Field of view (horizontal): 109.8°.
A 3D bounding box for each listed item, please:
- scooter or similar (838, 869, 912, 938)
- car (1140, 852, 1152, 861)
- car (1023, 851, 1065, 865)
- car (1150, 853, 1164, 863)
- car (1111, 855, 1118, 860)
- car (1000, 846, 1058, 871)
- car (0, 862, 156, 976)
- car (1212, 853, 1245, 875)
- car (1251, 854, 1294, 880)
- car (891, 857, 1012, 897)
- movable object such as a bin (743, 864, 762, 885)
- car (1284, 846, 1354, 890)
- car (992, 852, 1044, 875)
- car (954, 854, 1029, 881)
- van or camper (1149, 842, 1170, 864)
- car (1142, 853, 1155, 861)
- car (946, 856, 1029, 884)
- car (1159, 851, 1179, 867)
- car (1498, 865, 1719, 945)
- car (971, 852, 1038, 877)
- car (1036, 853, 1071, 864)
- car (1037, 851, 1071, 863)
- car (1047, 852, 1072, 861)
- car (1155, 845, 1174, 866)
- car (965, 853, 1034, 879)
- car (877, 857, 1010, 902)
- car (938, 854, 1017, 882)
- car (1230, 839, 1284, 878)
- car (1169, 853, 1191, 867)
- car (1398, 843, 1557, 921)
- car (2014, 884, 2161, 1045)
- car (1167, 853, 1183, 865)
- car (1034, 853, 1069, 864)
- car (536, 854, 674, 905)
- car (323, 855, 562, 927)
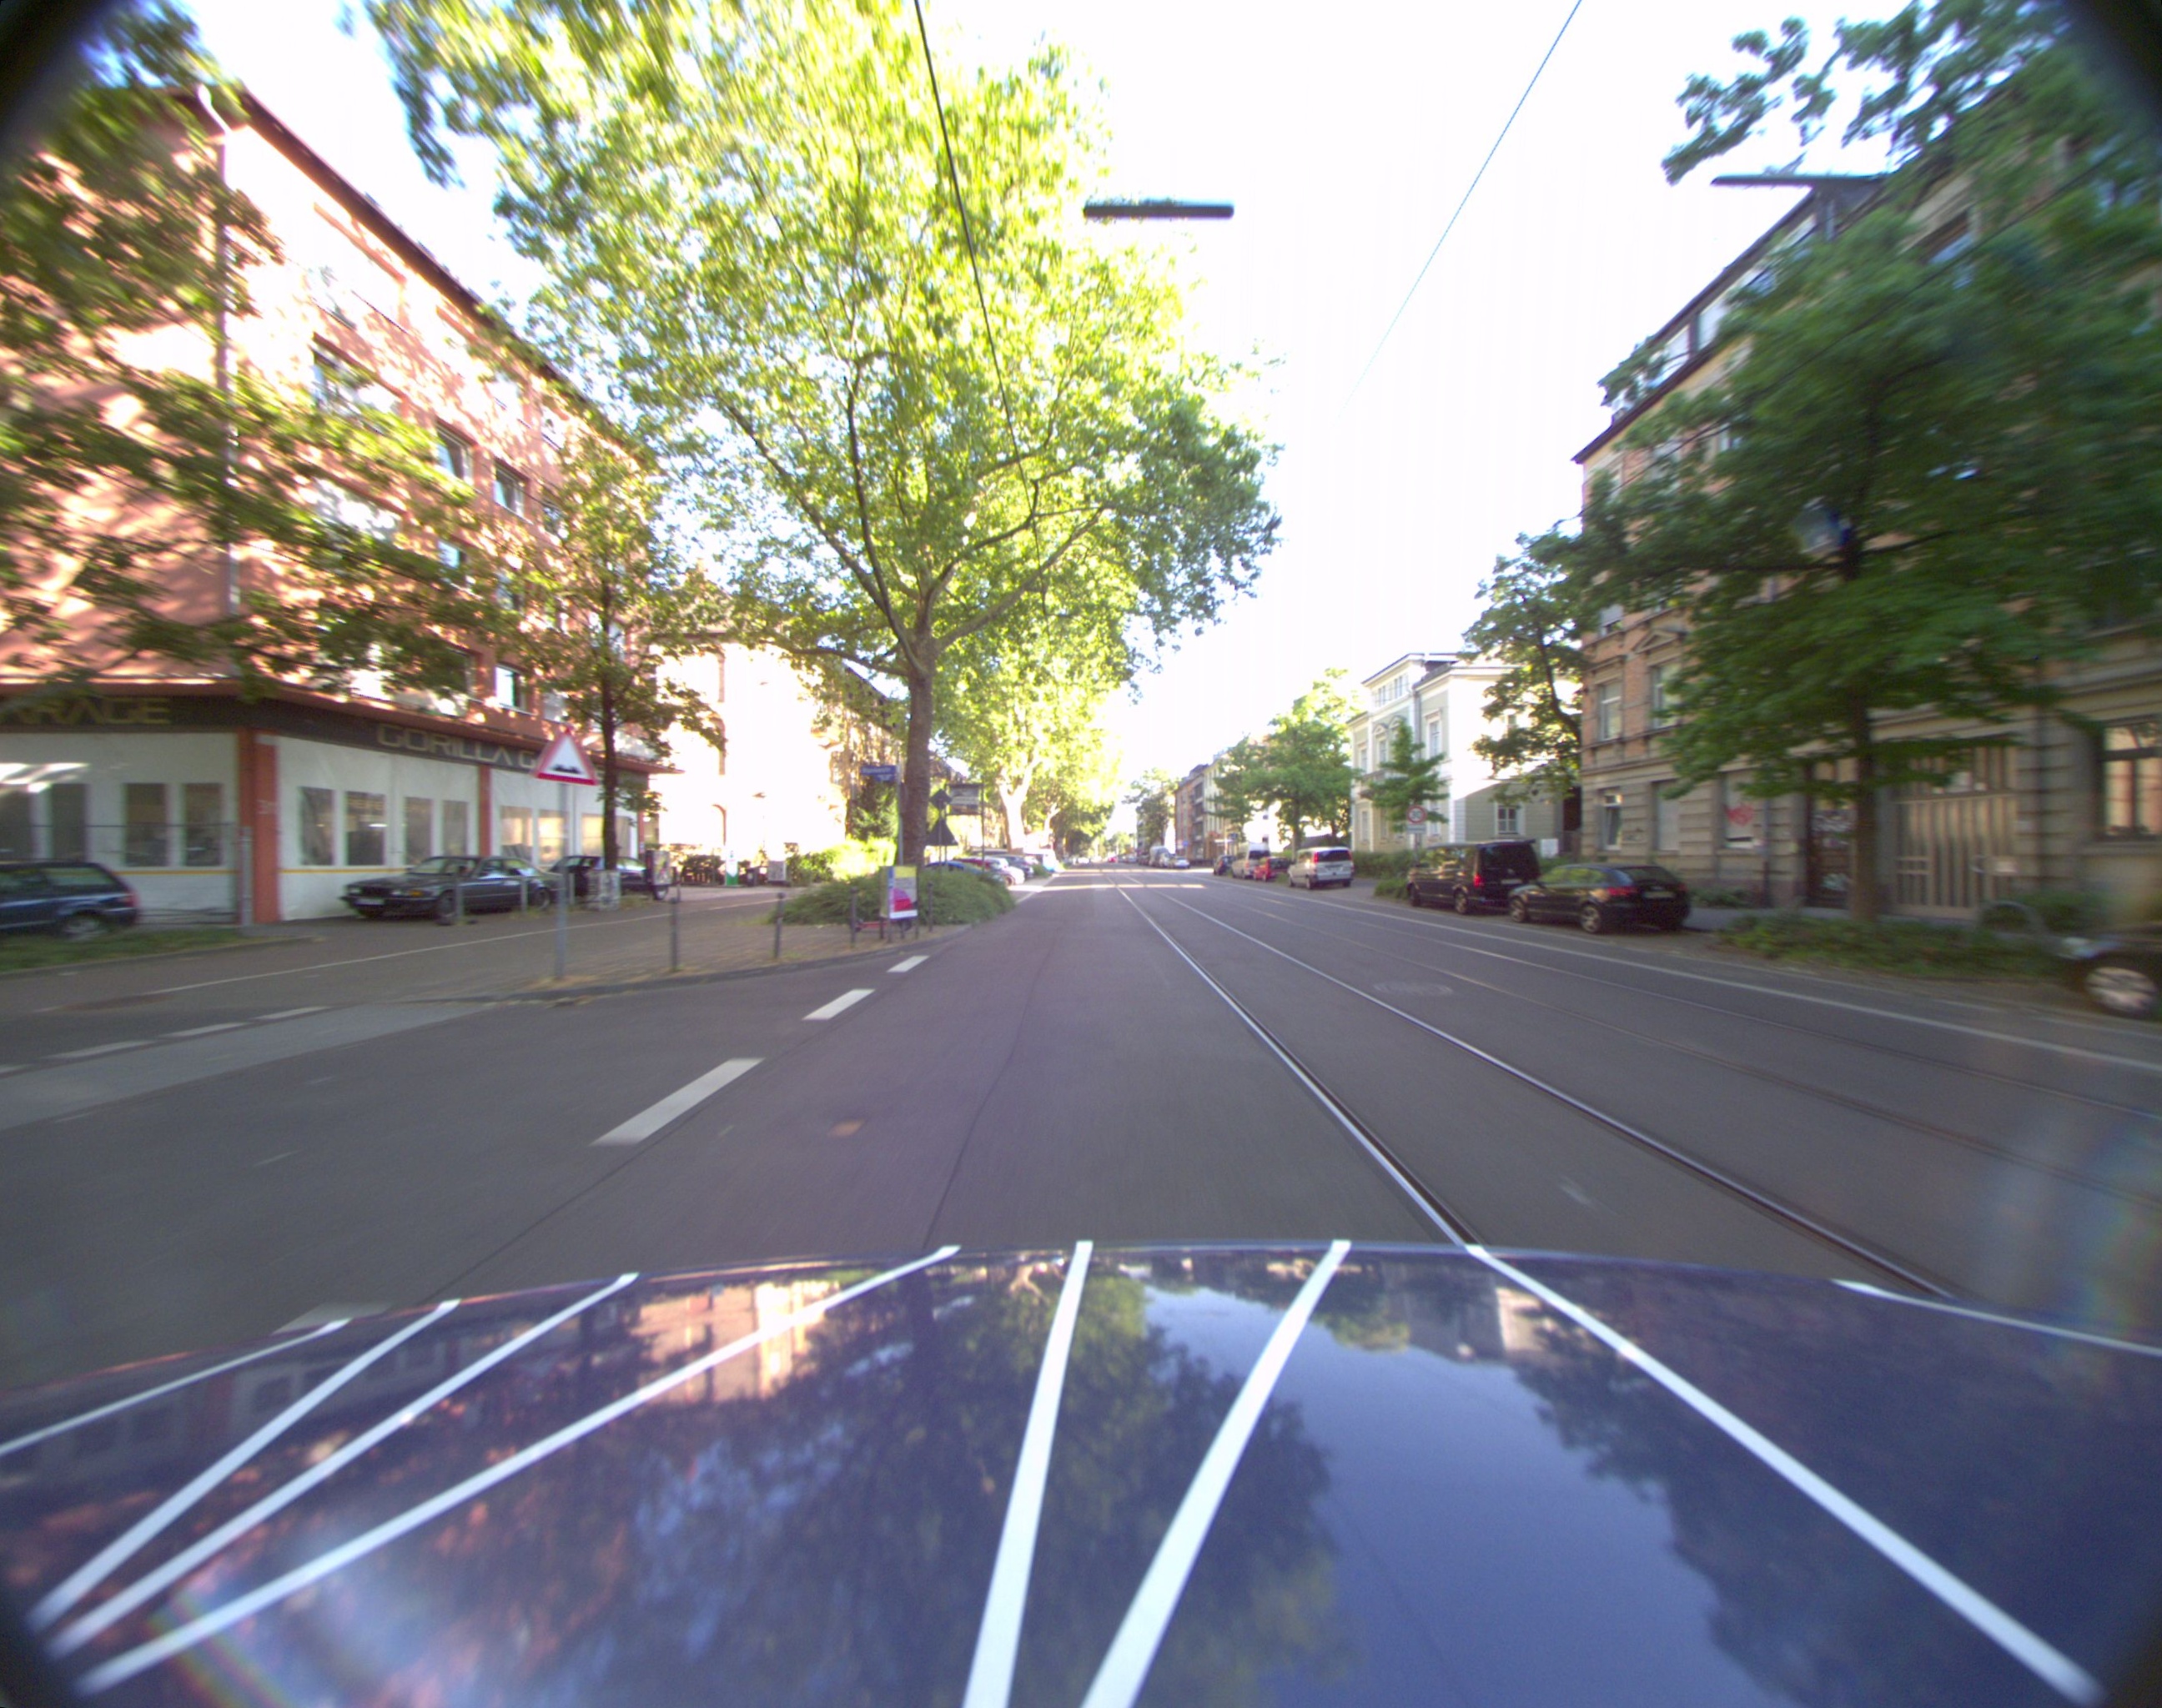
[{"bbox_3d":[-3.795,0.904,14.042,1.211,1.233,0.569,0,1,-1],"label":"scooter or similar"},{"bbox_3d":[11.747,0.412,137.842,1.791,1.660,4.434,-1,0,-1],"label":"car"},{"bbox_3d":[-4.351,0.474,89.510,4.810,1.621,1.893,1,0,1],"label":"car"},{"bbox_3d":[11.660,0.541,117.281,1.791,1.506,3.473,-1,0,-1],"label":"car"},{"bbox_3d":[10.098,1.079,229.636,1.769,1.448,3.586,0,0,1],"label":"car"},{"bbox_3d":[-4.495,0.419,65.896,4.859,2.002,2.193,1,0,-3],"label":"car"},{"bbox_3d":[-15.968,0.914,10.180,1.794,1.565,4.575,0,0,-5],"label":"car"},{"bbox_3d":[11.626,0.726,60.205,1.997,1.680,4.262,0,0,3],"label":"car"},{"bbox_3d":[11.580,0.767,46.094,1.689,1.530,3.707,0,0,0],"label":"car"},{"bbox_3d":[-5.068,0.884,30.143,4.413,1.534,1.952,0,0,3],"label":"car"},{"bbox_3d":[-15.153,0.945,35.029,0.658,0.934,0.447,0,2,5],"label":"movable object such as a bin"},{"bbox_3d":[11.207,0.613,36.148,1.848,1.977,4.988,0,0,1],"label":"car"},{"bbox_3d":[-4.735,0.673,57.229,3.792,1.609,1.790,1,0,-1],"label":"car"},{"bbox_3d":[-5.330,0.799,45.588,4.209,1.565,1.818,0,0,3],"label":"car"},{"bbox_3d":[11.463,-0.177,110.884,2.423,2.960,5.991,-4,0,2],"label":"van or camper"},{"bbox_3d":[11.828,0.495,132.940,1.791,1.462,4.434,-1,0,-1],"label":"car"},{"bbox_3d":[-4.987,0.857,40.770,4.210,1.439,1.817,0,0,0],"label":"car"},{"bbox_3d":[11.368,0.639,98.244,1.928,2.034,4.941,-1,0,-1],"label":"car"},{"bbox_3d":[11.264,1.014,16.677,1.858,1.450,4.269,0,0,-1],"label":"car"},{"bbox_3d":[-5.040,0.706,50.600,4.209,1.609,1.818,0,0,3],"label":"car"},{"bbox_3d":[-3.816,0.582,104.933,4.611,1.485,1.893,1,0,3],"label":"car"},{"bbox_3d":[-3.867,0.483,109.542,4.611,1.631,1.893,1,0,3],"label":"car"},{"bbox_3d":[-4.152,0.439,144.479,4.611,1.705,1.893,1,0,3],"label":"car"},{"bbox_3d":[11.398,0.221,104.216,1.927,2.730,4.546,-4,0,1],"label":"car"},{"bbox_3d":[-5.099,0.723,47.984,4.211,1.609,1.878,0,0,-2],"label":"car"},{"bbox_3d":[-4.954,0.900,27.616,4.411,1.534,1.818,0,0,8],"label":"car"},{"bbox_3d":[-5.865,0.793,43.300,4.209,1.546,1.818,0,0,3],"label":"car"},{"bbox_3d":[11.672,0.277,50.858,2.310,2.493,5.343,0,0,-1],"label":"car"},{"bbox_3d":[11.391,0.640,87.673,1.776,1.484,4.940,-1,0,-2],"label":"car"},{"bbox_3d":[11.211,0.703,21.962,1.999,2.002,4.834,0,0,-1],"label":"car"},{"bbox_3d":[10.945,1.057,6.269,1.662,1.437,3.949,-1,0,0],"label":"car"},{"bbox_3d":[11.448,0.587,92.307,1.575,1.484,2.883,-1,0,1],"label":"car"},{"bbox_3d":[-3.987,0.602,102.927,4.611,1.485,1.893,1,0,3],"label":"car"},{"bbox_3d":[-14.613,0.736,23.603,1.753,1.426,3.950,1,0,1],"label":"car"},{"bbox_3d":[-14.558,0.757,17.744,1.753,1.426,4.468,1,0,1],"label":"car"}]
